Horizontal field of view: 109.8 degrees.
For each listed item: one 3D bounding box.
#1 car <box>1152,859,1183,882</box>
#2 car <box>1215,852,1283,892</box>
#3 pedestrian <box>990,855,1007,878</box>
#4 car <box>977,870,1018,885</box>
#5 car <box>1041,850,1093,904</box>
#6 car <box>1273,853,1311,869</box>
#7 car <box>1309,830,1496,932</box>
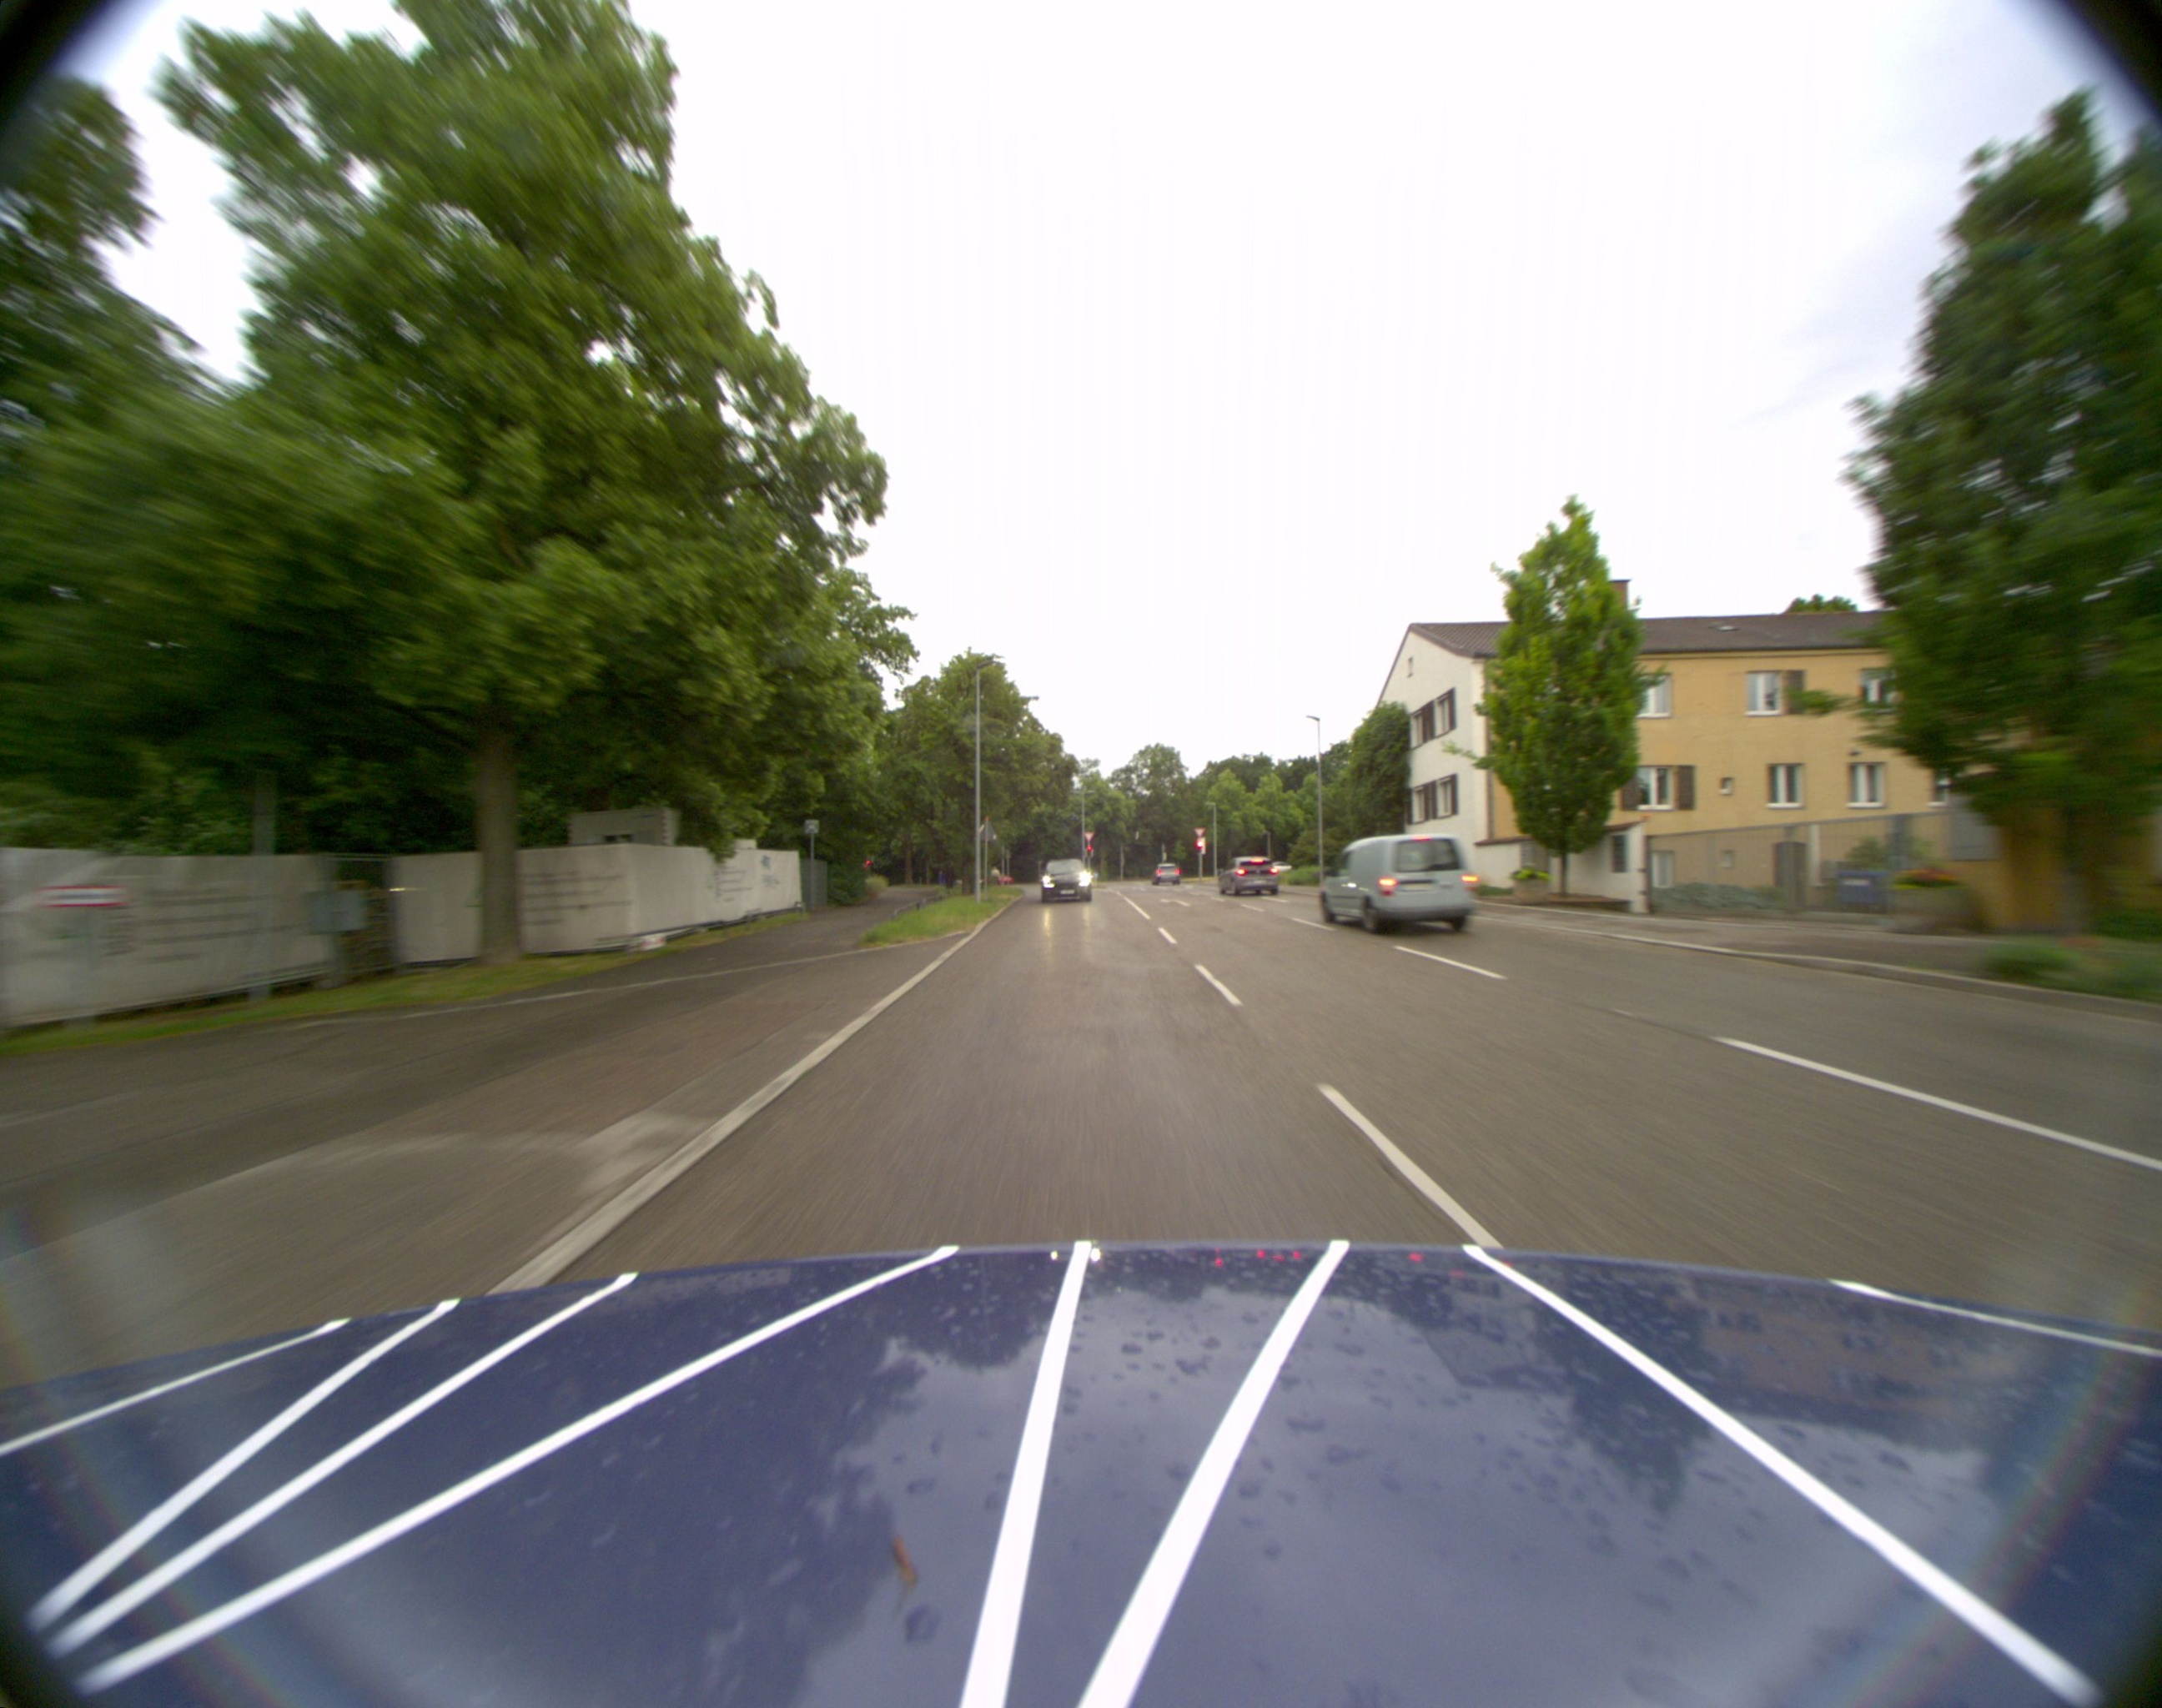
[{"bbox_3d":[6.542,1.223,57.909,1.925,1.618,4.345,-2,-1,1],"label":"car"},{"bbox_3d":[6.911,0.710,31.667,1.887,1.449,4.469,-2,1,1],"label":"car"},{"bbox_3d":[-6.331,0.983,58.514,1.019,1.711,0.747,-1,1,42],"label":"pedestrian"},{"bbox_3d":[-9.751,2.775,88.856,4.348,1.506,1.996,-2,1,-22],"label":"car"},{"bbox_3d":[-0.505,0.877,30.970,1.847,1.961,4.344,-2,1,2],"label":"car"},{"bbox_3d":[26.302,0.891,94.639,4.349,1.755,1.996,-2,1,-25],"label":"car"},{"bbox_3d":[6.202,0.446,15.293,1.899,1.695,4.509,-2,1,1],"label":"car"}]
